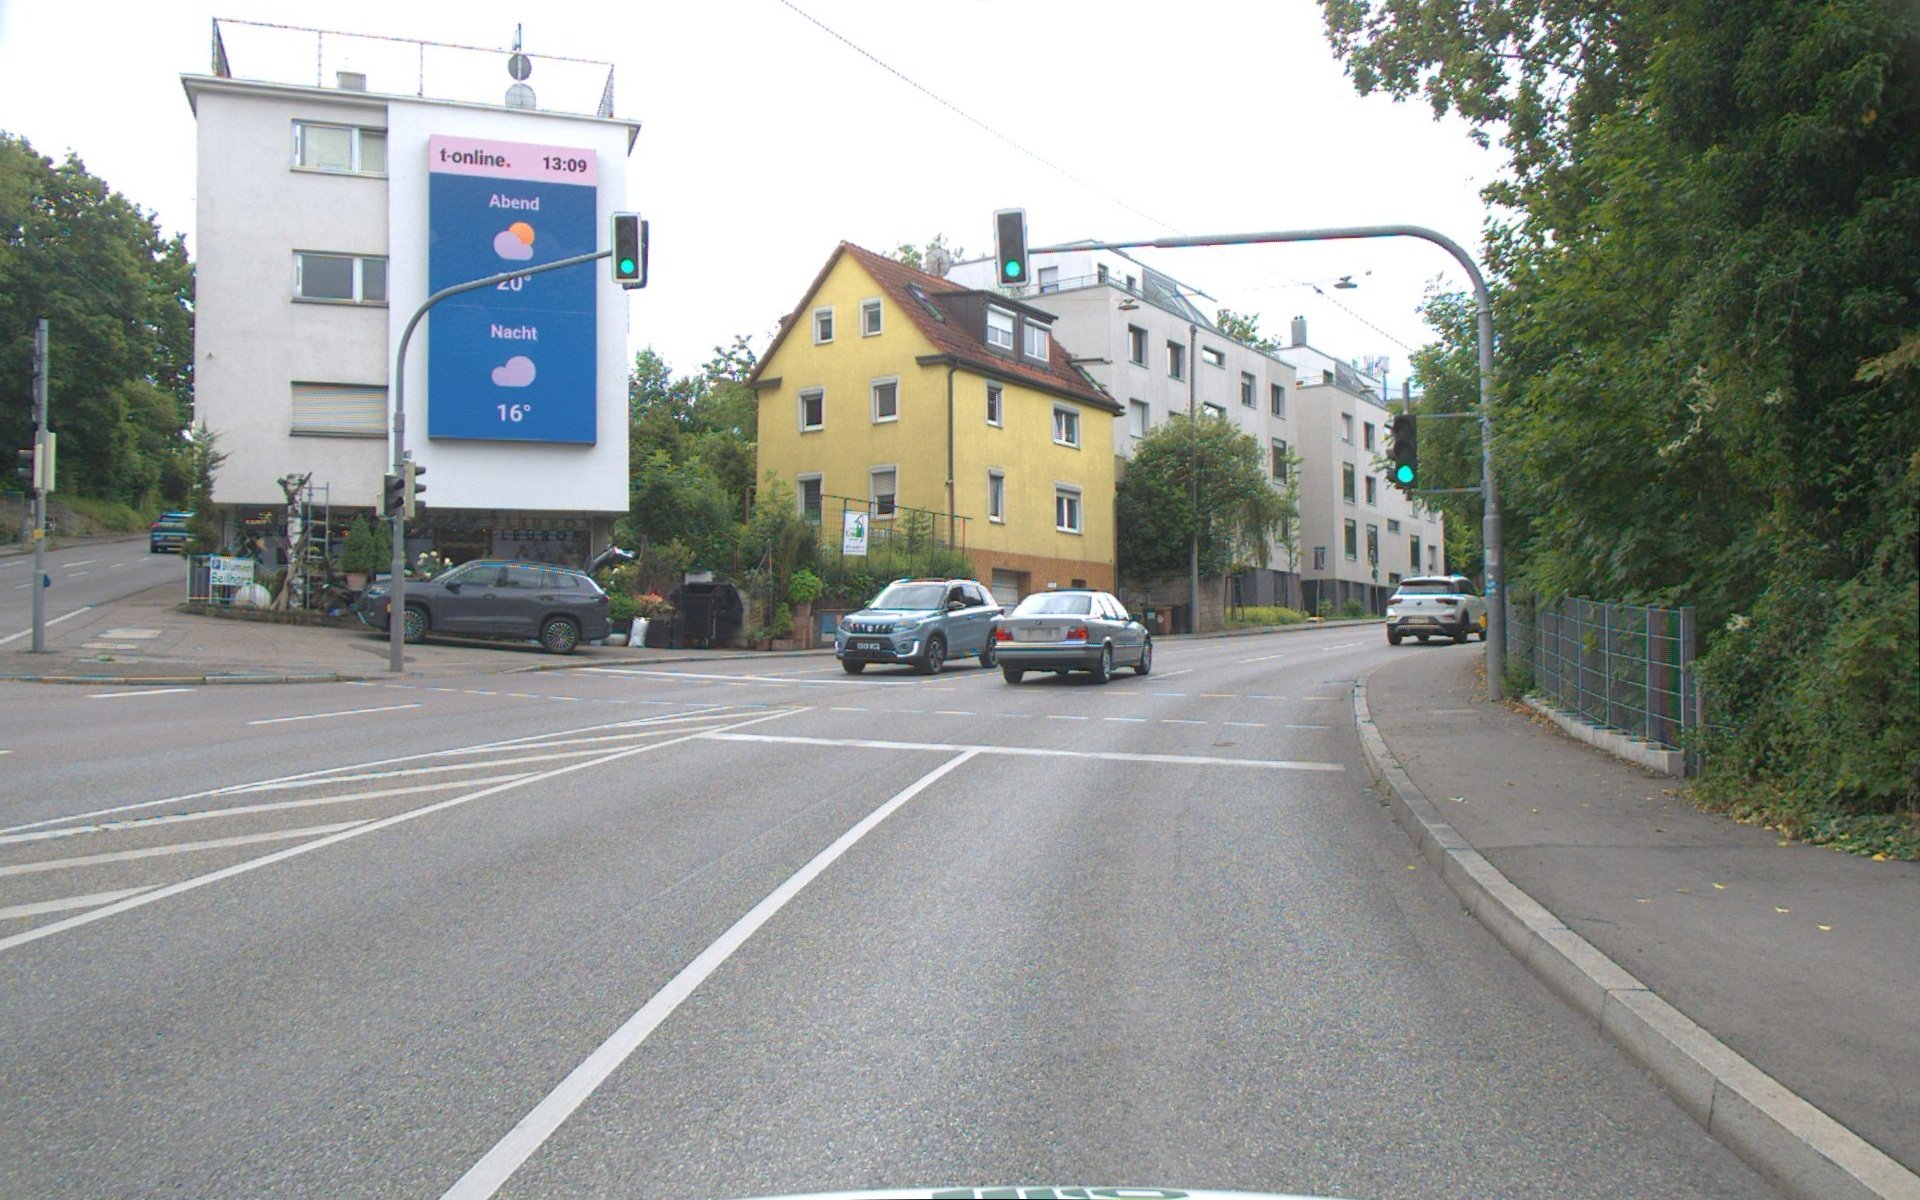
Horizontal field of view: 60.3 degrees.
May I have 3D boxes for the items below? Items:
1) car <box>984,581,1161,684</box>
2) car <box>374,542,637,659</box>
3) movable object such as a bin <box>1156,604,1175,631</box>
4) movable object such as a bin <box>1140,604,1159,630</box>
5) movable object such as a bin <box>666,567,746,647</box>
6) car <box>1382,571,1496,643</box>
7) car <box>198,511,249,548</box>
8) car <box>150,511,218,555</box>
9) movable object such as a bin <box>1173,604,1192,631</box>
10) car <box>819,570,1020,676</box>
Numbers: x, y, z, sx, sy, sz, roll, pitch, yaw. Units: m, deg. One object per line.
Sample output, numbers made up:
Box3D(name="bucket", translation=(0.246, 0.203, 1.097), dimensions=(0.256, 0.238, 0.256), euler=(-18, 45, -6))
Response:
Box3D(name="car", translation=(1.854, 0.463, 26.006), dimensions=(1.671, 1.489, 4.001), euler=(-1, 0, 21))
Box3D(name="car", translation=(-8.765, -0.006, 31.935), dimensions=(4.616, 1.741, 2.307), euler=(5, 2, -19))
Box3D(name="movable object such as a bin", translation=(6.976, 0.589, 56.103), dimensions=(0.555, 0.901, 0.610), euler=(1, 0, 16))
Box3D(name="movable object such as a bin", translation=(6.513, 0.582, 56.874), dimensions=(0.555, 0.901, 0.610), euler=(1, 0, 16))
Box3D(name="movable object such as a bin", translation=(-5.861, 0.150, 38.330), dimensions=(1.728, 1.810, 1.853), euler=(0, 0, -5))
Box3D(name="car", translation=(11.360, 0.133, 39.062), dimensions=(1.746, 1.606, 3.993), euler=(0, 0, 29))
Box3D(name="car", translation=(-34.292, -3.303, 77.080), dimensions=(1.752, 1.606, 3.981), euler=(1, 2, -18))
Box3D(name="car", translation=(-30.352, -2.622, 64.767), dimensions=(1.751, 1.606, 3.984), euler=(1, 2, -16))
Box3D(name="movable object such as a bin", translation=(7.559, 0.596, 56.263), dimensions=(0.555, 0.901, 0.610), euler=(1, 0, 16))
Box3D(name="car", translation=(-0.619, 0.380, 29.417), dimensions=(1.858, 1.725, 4.344), euler=(0, 0, 25))
